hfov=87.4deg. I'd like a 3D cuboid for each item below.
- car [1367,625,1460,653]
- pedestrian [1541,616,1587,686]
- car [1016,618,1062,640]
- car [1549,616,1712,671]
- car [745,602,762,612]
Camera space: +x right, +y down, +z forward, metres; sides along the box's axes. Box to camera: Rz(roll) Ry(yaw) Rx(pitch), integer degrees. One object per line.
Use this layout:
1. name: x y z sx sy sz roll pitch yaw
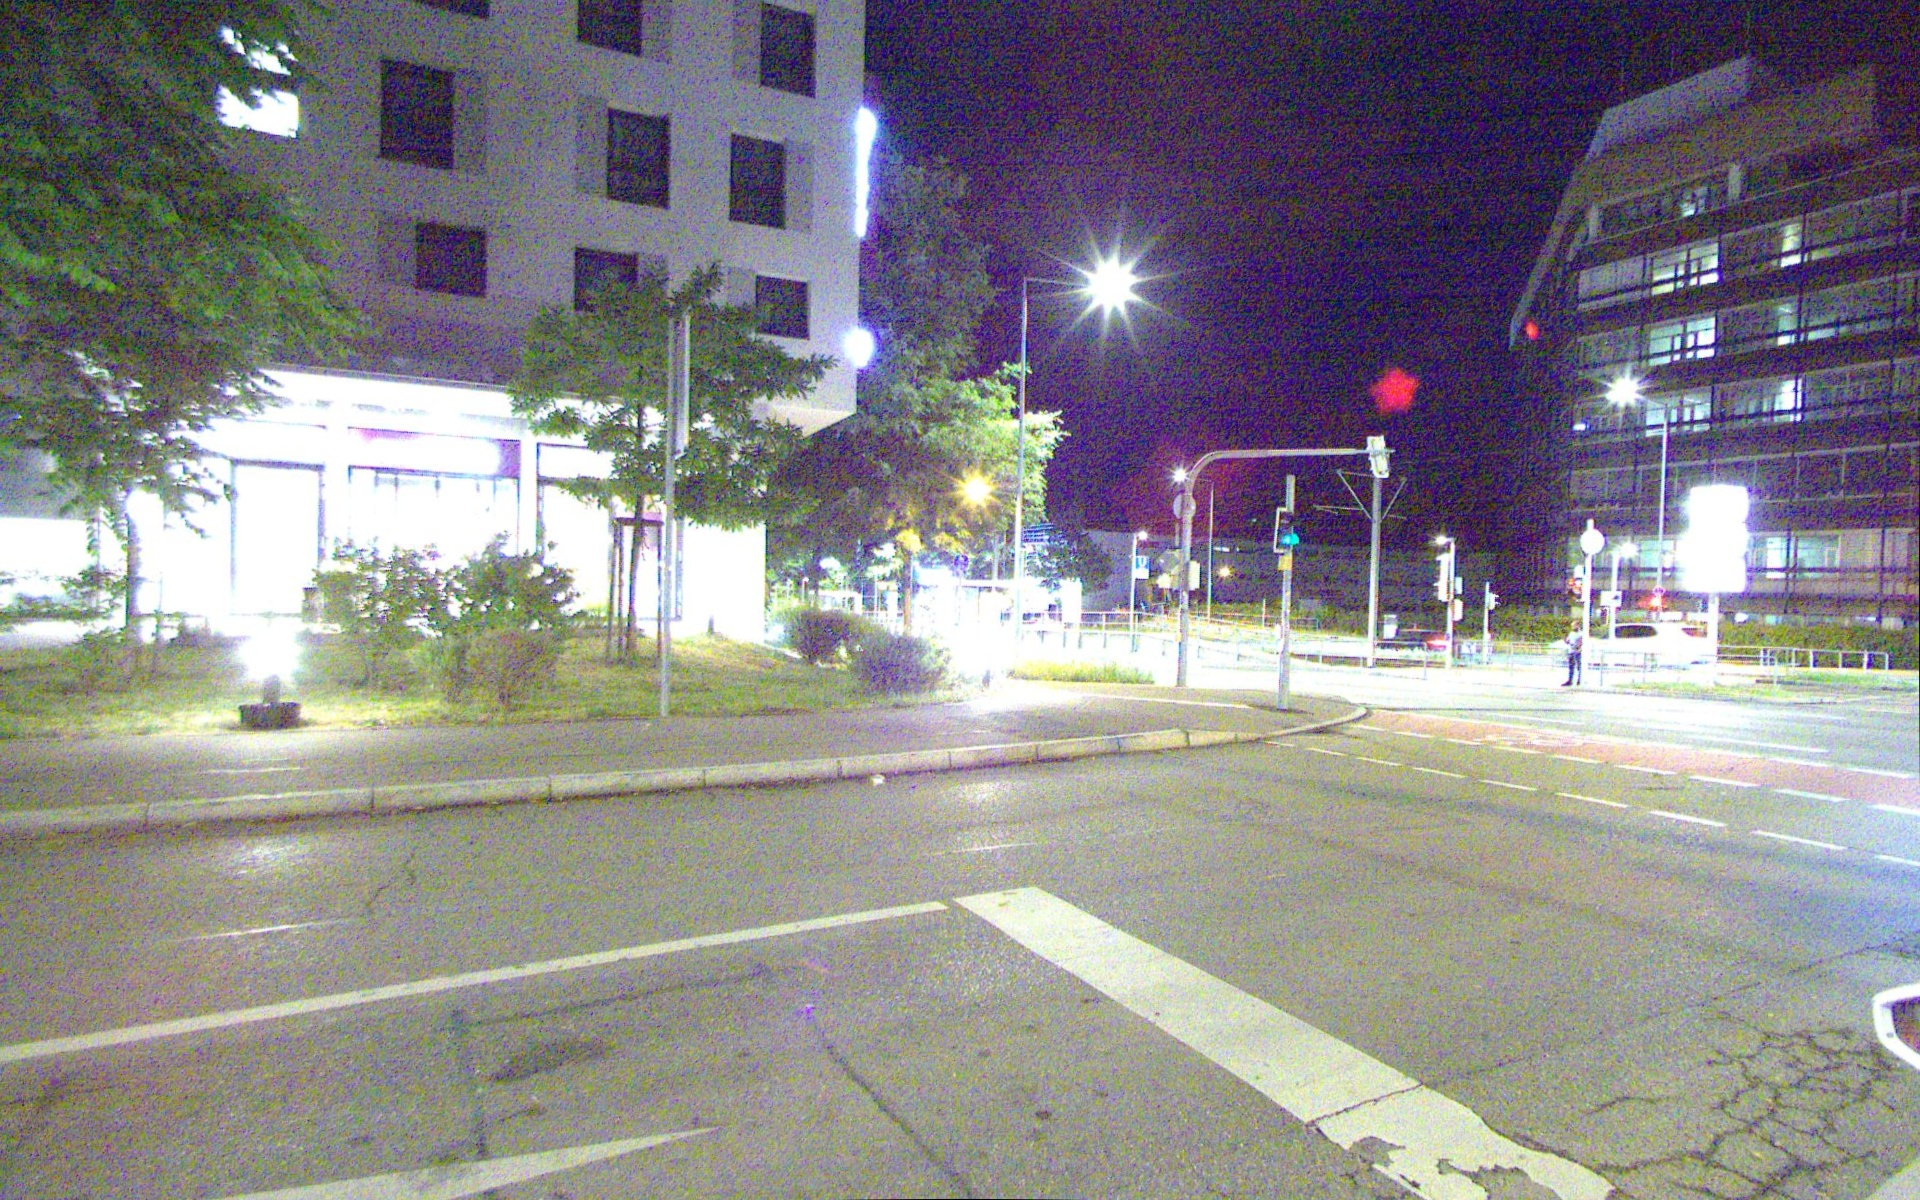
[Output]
1. car: 23.881 2.033 53.005 1.819 1.406 4.313 3 -2 -26
2. pedestrian: 15.561 1.292 25.872 0.693 1.745 0.679 2 0 -4
3. car: 6.659 2.463 85.390 1.916 1.665 4.382 3 0 -26
4. car: 24.556 1.551 36.997 1.819 1.868 4.764 2 -2 -26
5. car: -33.468 1.129 162.932 1.845 1.506 3.822 3 0 -26
